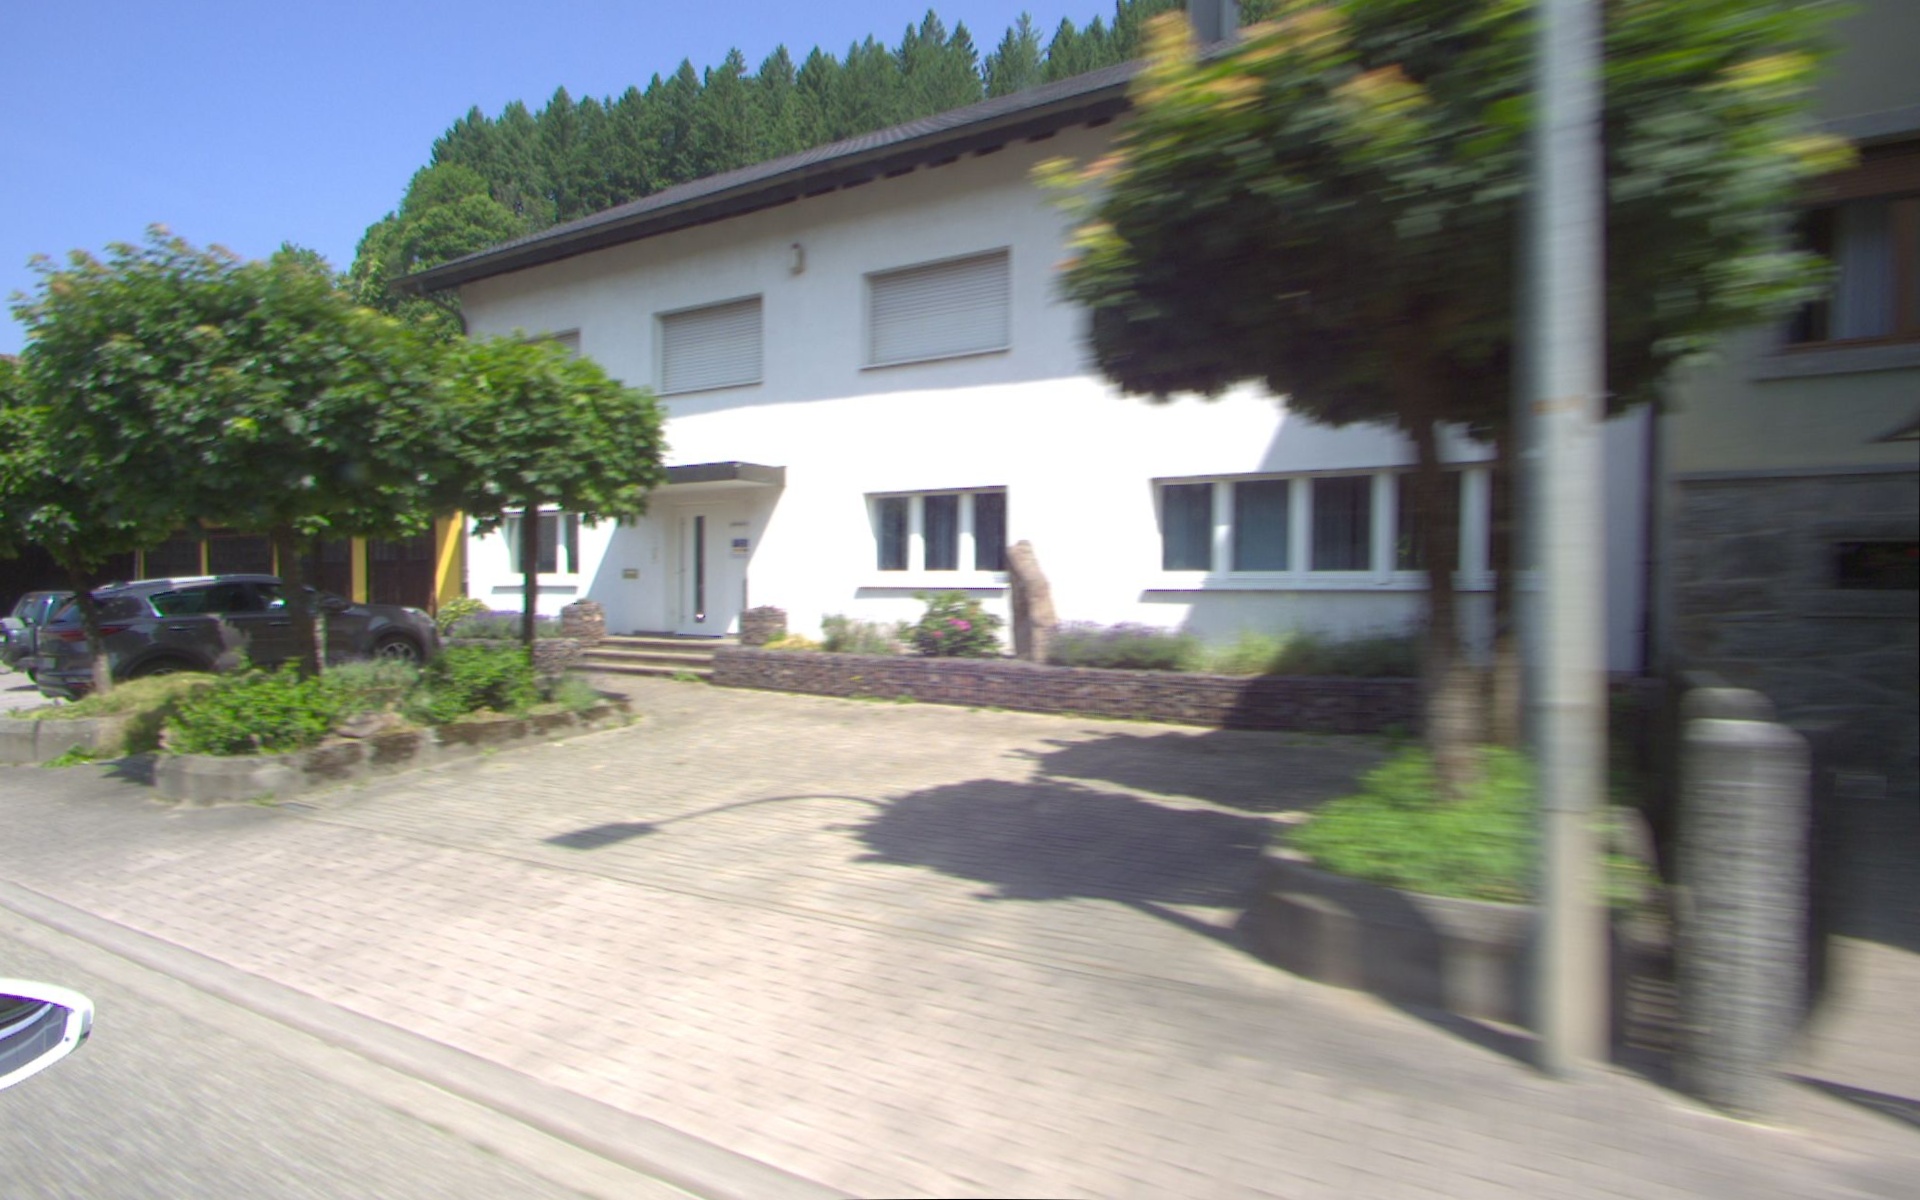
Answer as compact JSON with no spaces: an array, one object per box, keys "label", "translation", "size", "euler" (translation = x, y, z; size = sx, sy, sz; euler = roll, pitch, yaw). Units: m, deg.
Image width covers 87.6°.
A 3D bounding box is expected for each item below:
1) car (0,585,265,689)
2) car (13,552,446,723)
[{"label":"car","translation":[-16.961,0.649,20.431],"size":[1.924,1.857,4.122],"euler":[-1,1,28]},{"label":"car","translation":[-9.467,0.345,13.356],"size":[1.753,1.711,4.204],"euler":[0,5,35]}]
